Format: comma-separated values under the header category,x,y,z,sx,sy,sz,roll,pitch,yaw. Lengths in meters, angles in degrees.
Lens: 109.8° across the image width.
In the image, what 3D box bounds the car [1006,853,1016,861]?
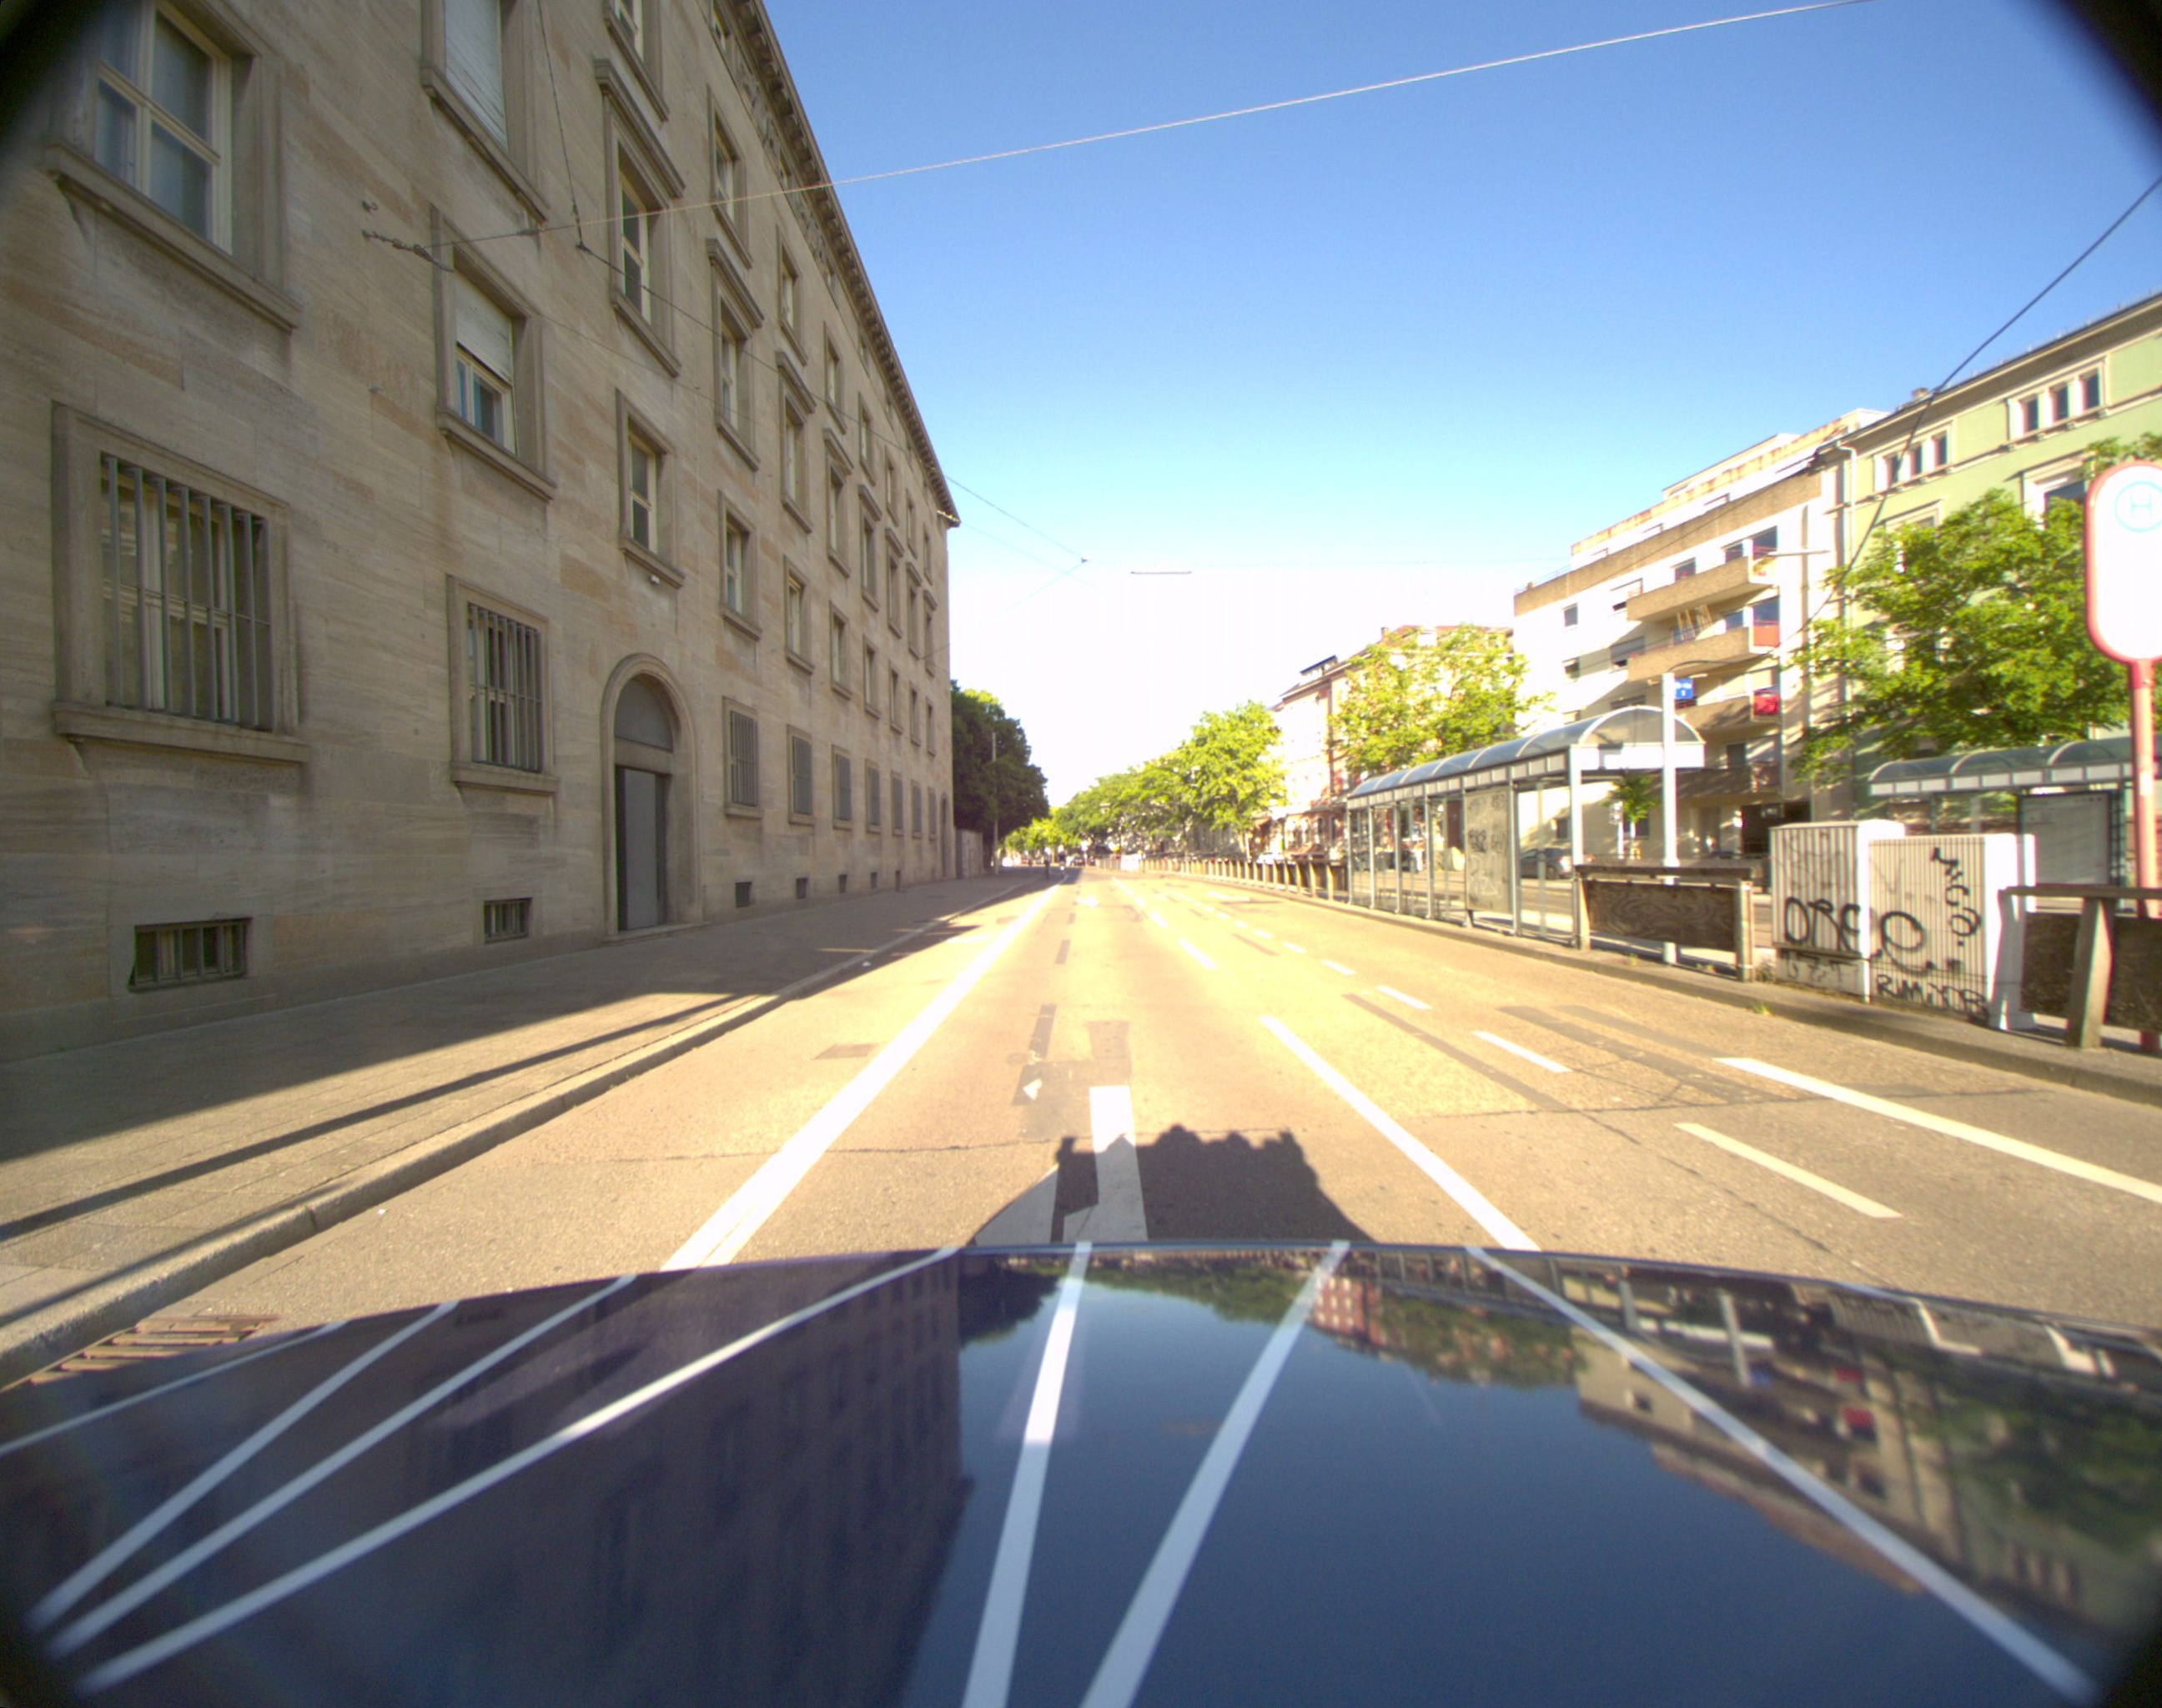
category,x,y,z,sx,sy,sz,roll,pitch,yaw
car,-13.161,0.521,142.337,1.772,1.429,3.831,-1,0,-7

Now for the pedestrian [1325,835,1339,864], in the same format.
category,x,y,z,sx,sy,sz,roll,pitch,yaw
pedestrian,19.549,-0.353,59.213,0.812,2.194,0.756,-1,1,-4

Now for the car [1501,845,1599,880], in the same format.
category,x,y,z,sx,sy,sz,roll,pitch,yaw
car,20.914,0.358,34.065,1.654,1.419,3.737,-1,0,-11

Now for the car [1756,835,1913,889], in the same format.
category,x,y,z,sx,sy,sz,roll,pitch,yaw
car,24.027,0.226,24.256,4.002,1.573,1.761,-1,0,-14

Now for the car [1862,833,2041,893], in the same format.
category,x,y,z,sx,sy,sz,roll,pitch,yaw
car,24.826,0.223,21.715,4.002,1.573,1.761,-1,0,-14

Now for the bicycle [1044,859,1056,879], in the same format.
category,x,y,z,sx,sy,sz,roll,pitch,yaw
bicycle,-2.006,0.969,49.788,0.625,1.214,1.659,-3,1,1

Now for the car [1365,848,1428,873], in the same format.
category,x,y,z,sx,sy,sz,roll,pitch,yaw
car,18.473,0.365,44.676,1.609,1.388,3.997,-1,0,-9

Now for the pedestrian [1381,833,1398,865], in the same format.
category,x,y,z,sx,sy,sz,roll,pitch,yaw
pedestrian,21.250,-0.343,52.383,0.813,2.194,0.756,-1,1,-10

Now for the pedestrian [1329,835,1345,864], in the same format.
category,x,y,z,sx,sy,sz,roll,pitch,yaw
pedestrian,19.442,-0.333,57.715,0.813,2.194,0.756,-1,1,-10

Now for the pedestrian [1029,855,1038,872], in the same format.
category,x,y,z,sx,sy,sz,roll,pitch,yaw
pedestrian,-3.666,0.758,58.930,0.548,1.327,0.587,-1,1,7

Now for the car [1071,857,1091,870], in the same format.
category,x,y,z,sx,sy,sz,roll,pitch,yaw
car,-0.018,1.333,108.545,2.001,1.789,3.995,-1,0,-13

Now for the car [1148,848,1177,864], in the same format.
category,x,y,z,sx,sy,sz,roll,pitch,yaw
car,7.849,0.167,73.440,1.648,1.480,3.995,-2,1,-12

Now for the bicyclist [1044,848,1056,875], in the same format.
category,x,y,z,sx,sy,sz,roll,pitch,yaw
bicyclist,-2.030,0.502,49.724,0.625,1.729,0.688,-3,1,1

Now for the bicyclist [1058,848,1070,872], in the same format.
category,x,y,z,sx,sy,sz,roll,pitch,yaw
bicyclist,-1.064,0.387,49.000,0.728,1.570,0.775,1,1,1

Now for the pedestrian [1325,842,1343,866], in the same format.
category,x,y,z,sx,sy,sz,roll,pitch,yaw
pedestrian,18.459,0.016,55.386,0.855,1.710,1.019,-1,1,-8

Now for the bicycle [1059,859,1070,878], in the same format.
category,x,y,z,sx,sy,sz,roll,pitch,yaw
bicycle,-1.074,0.927,49.001,0.625,1.167,1.566,1,0,1

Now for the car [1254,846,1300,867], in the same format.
category,x,y,z,sx,sy,sz,roll,pitch,yaw
car,16.419,0.204,63.547,4.134,1.698,1.848,-1,1,-45

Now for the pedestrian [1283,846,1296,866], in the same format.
category,x,y,z,sx,sy,sz,roll,pitch,yaw
pedestrian,16.651,0.161,60.693,0.867,1.619,0.892,-1,1,4

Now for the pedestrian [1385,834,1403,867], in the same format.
category,x,y,z,sx,sy,sz,roll,pitch,yaw
pedestrian,21.228,-0.262,51.477,0.813,2.194,0.756,-1,1,-10
